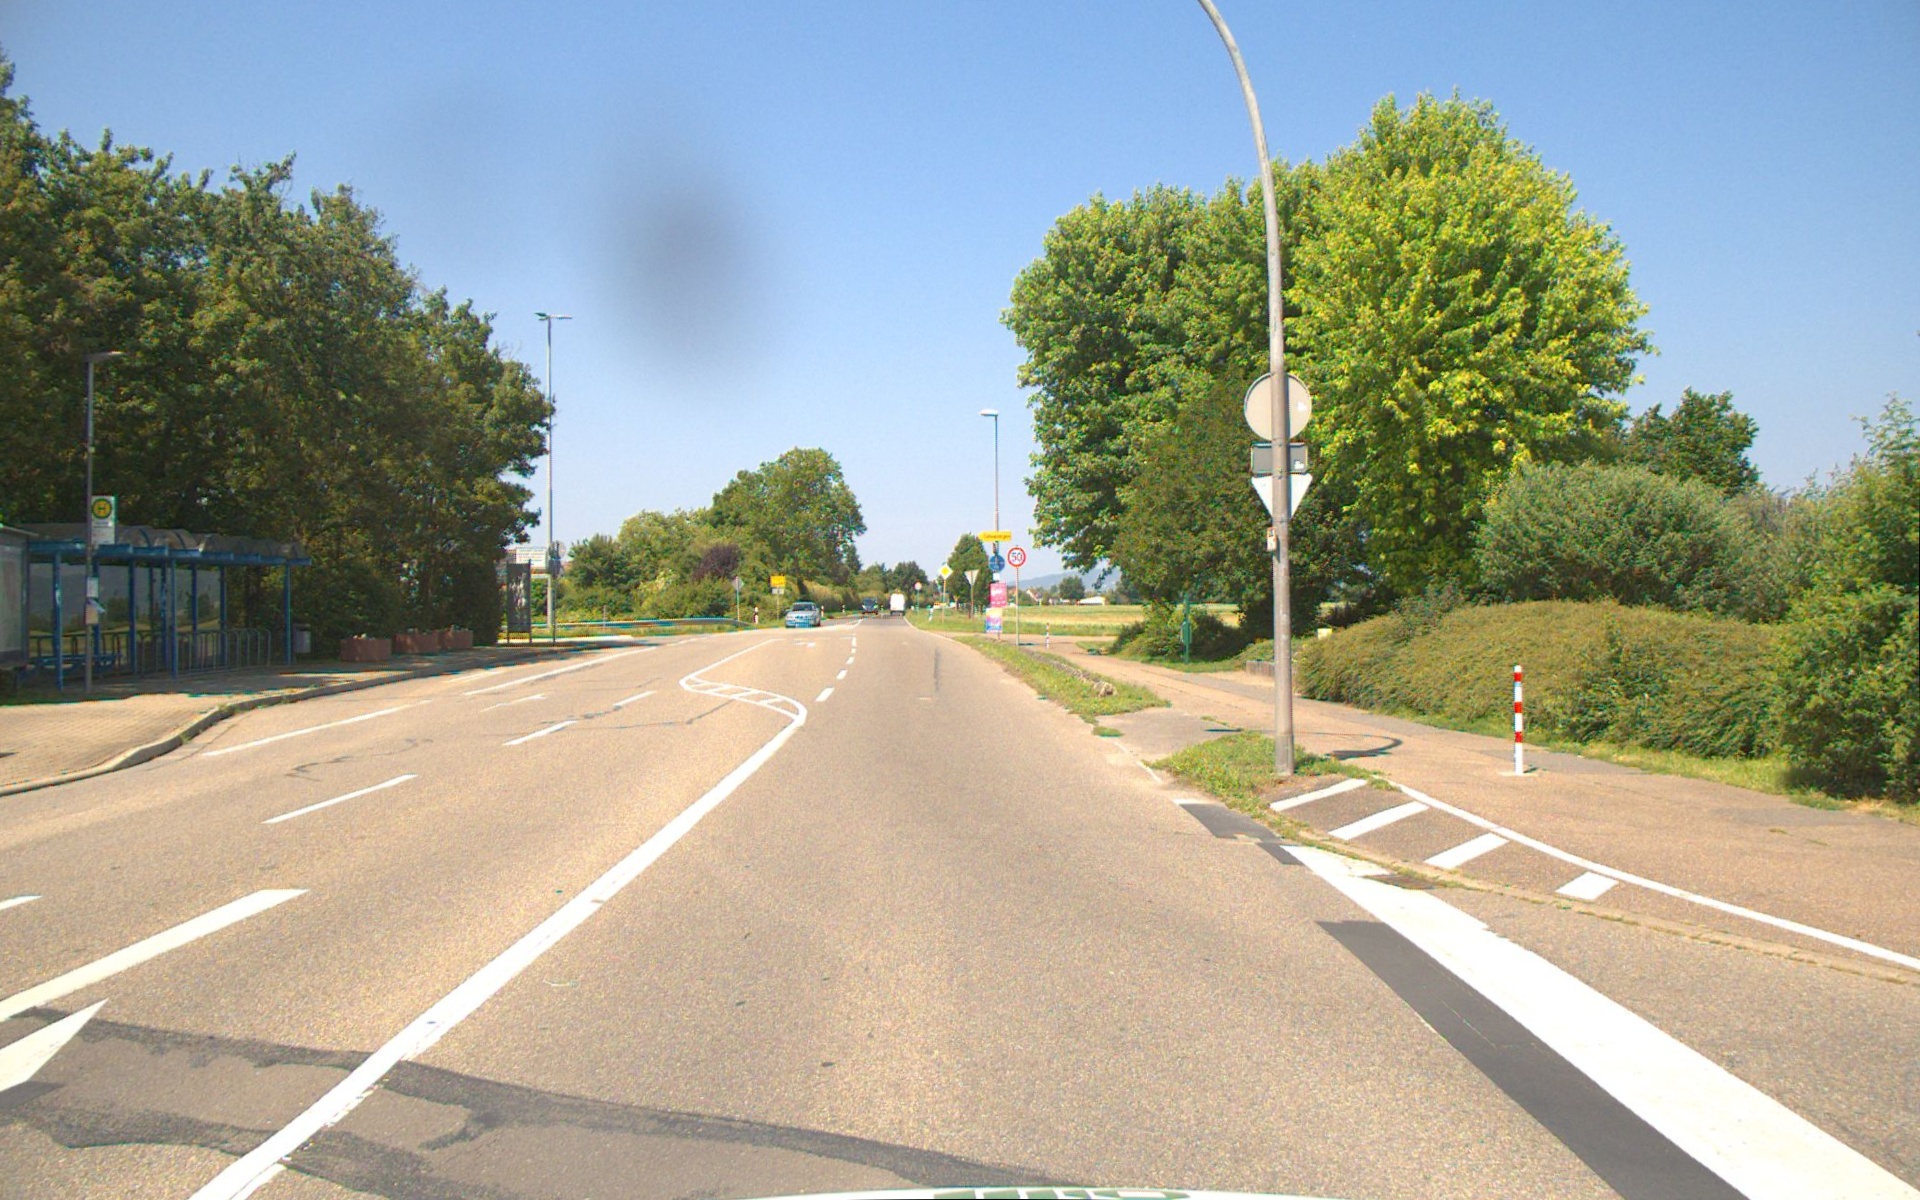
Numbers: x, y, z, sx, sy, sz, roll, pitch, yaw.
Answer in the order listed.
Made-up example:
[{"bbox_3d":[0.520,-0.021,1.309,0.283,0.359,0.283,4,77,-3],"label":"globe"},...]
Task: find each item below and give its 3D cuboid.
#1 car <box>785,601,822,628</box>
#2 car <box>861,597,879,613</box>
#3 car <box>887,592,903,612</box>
[{"bbox_3d":[-8.909,0.792,94.400,1.602,1.496,4.416,0,0,1],"label":"car"},{"bbox_3d":[-11.486,0.605,211.249,2.101,1.985,5.246,-1,0,-1],"label":"car"},{"bbox_3d":[-8.758,0.237,222.504,1.955,2.697,3.994,-1,0,-6],"label":"car"}]
